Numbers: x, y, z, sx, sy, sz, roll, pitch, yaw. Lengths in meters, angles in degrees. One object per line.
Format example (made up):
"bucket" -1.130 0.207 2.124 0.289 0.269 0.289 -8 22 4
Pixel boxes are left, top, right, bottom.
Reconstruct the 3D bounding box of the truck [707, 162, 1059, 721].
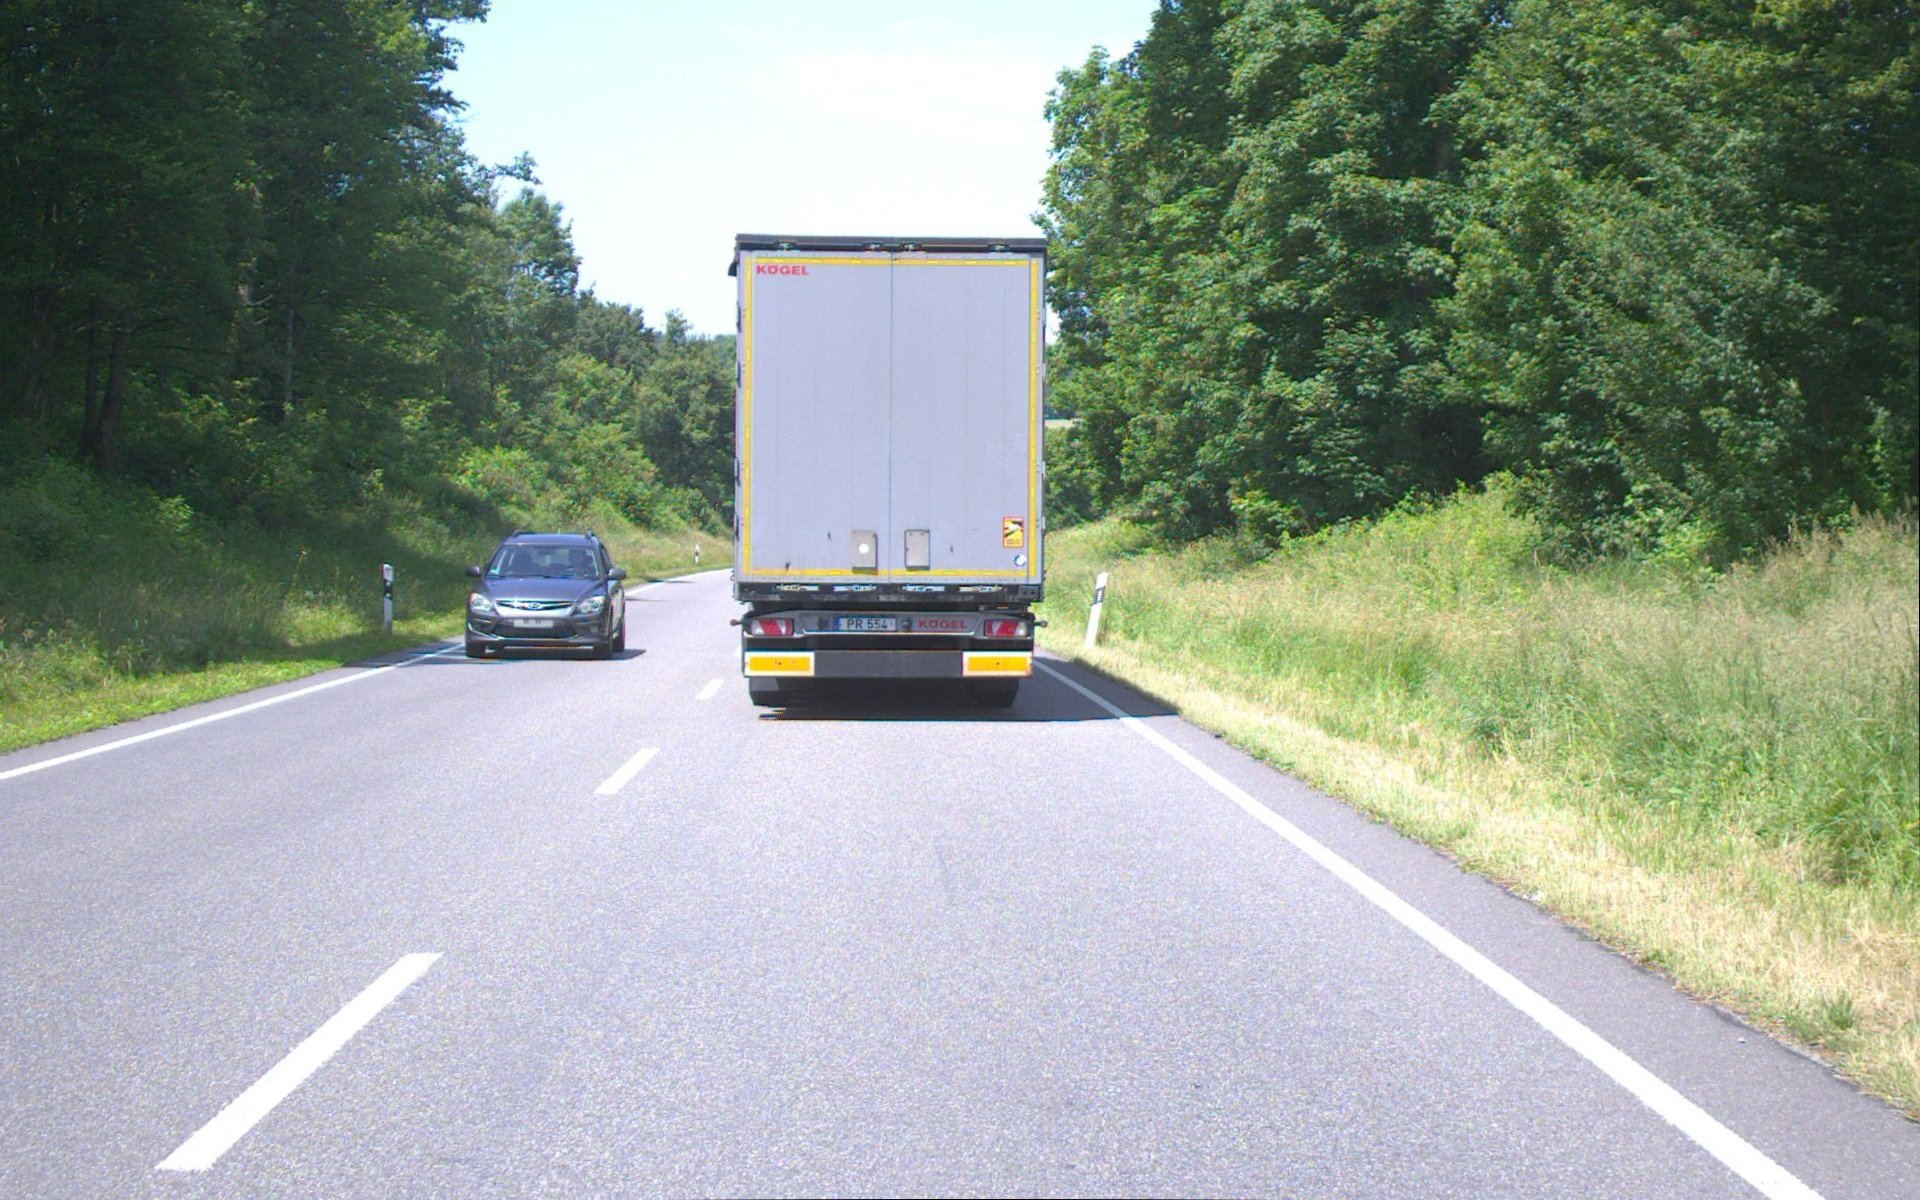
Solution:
"truck" -0.833 -1.405 33.890 2.817 4.517 11.769 1 1 -2

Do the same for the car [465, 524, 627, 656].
"car" -5.179 -0.163 43.436 1.771 1.565 4.218 0 1 -3
